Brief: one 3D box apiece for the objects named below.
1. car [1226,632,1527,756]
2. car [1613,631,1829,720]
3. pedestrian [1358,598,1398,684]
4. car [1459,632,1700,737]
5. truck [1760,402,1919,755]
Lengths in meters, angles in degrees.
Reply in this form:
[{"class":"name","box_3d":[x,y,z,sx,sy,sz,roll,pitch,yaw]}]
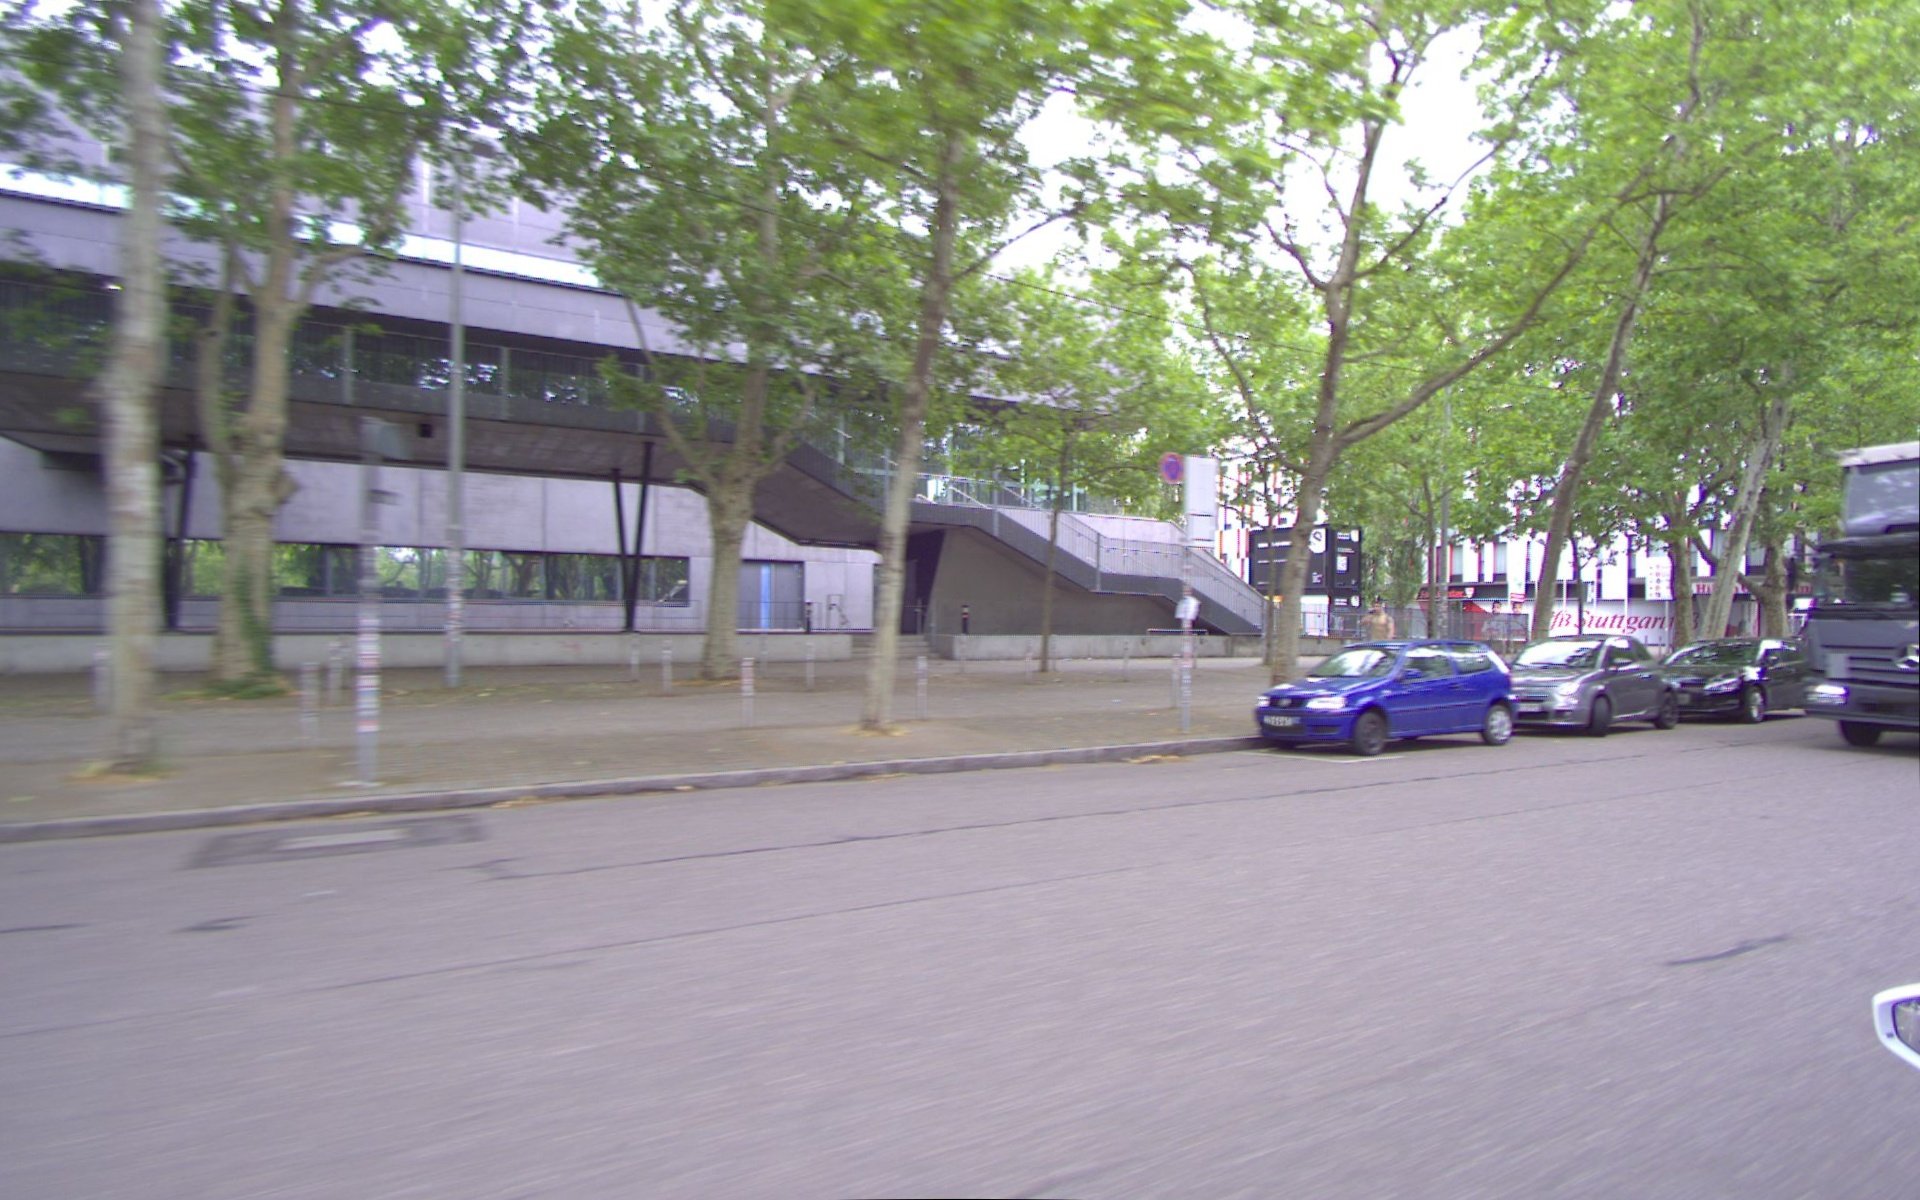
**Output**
[{"class":"car","box_3d":[5.535,1.206,13.332,3.713,1.437,1.690,2,-4,-27]},{"class":"car","box_3d":[13.575,1.331,17.891,3.718,1.437,1.758,2,-4,-31]},{"class":"pedestrian","box_3d":[9.310,0.900,22.375,0.758,1.859,0.878,0,0,26]},{"class":"car","box_3d":[9.636,1.276,15.573,3.722,1.437,1.756,3,-4,-33]},{"class":"truck","box_3d":[14.829,-0.146,13.646,9.420,3.953,2.631,1,-2,-28]}]
